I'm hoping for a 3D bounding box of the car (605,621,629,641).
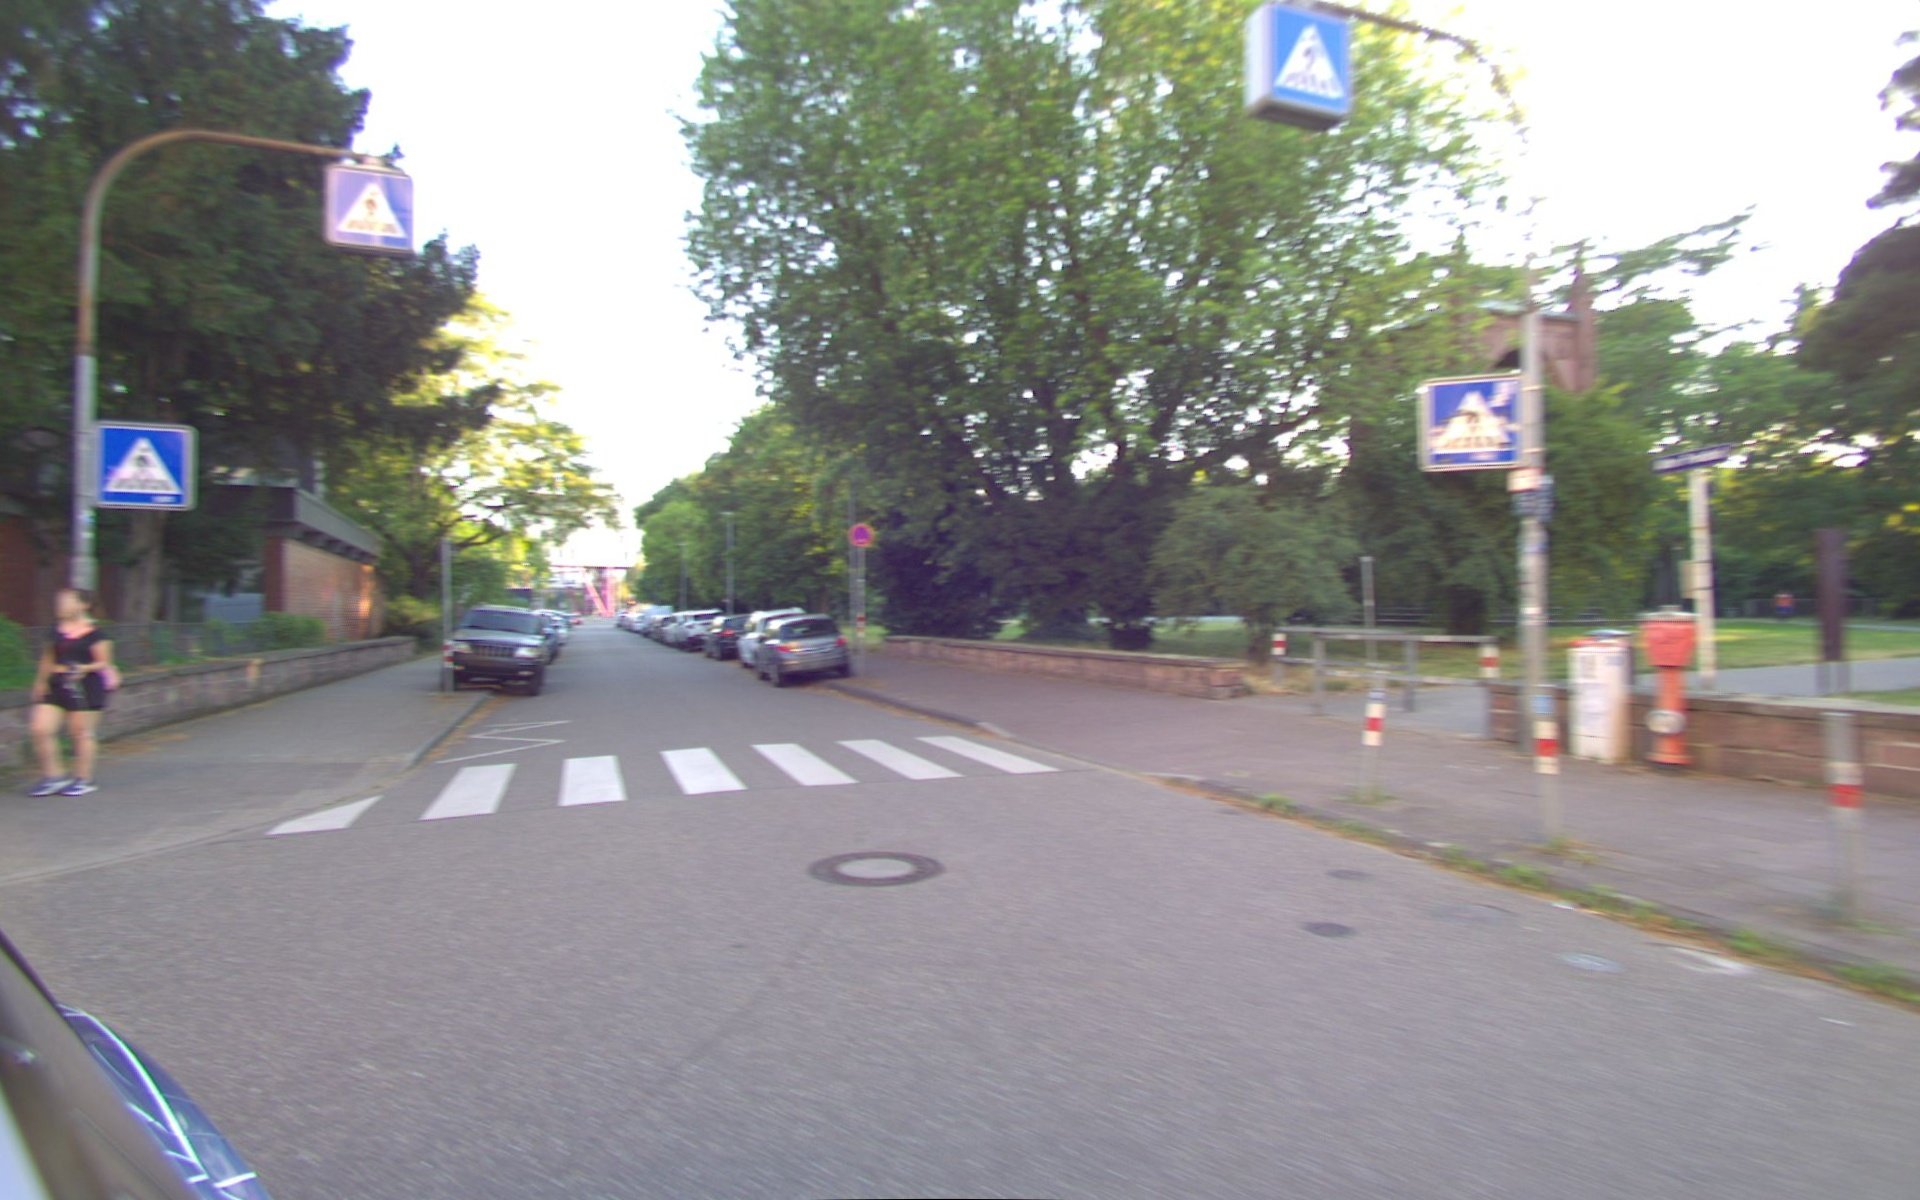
[{"bbox_3d":[-34.050,3.032,100.378,1.757,1.796,4.025,-5,1,-23],"label":"car"}]

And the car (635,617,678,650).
[{"bbox_3d":[-17.203,1.879,57.237,1.757,1.583,3.897,-6,1,-23],"label":"car"}]

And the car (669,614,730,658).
[{"bbox_3d":[-10.831,1.467,41.858,1.757,1.583,3.897,-6,1,-23],"label":"car"}]

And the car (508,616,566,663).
[{"bbox_3d":[-15.381,1.426,36.761,1.756,1.511,3.897,4,-3,-23],"label":"car"}]

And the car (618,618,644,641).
[{"bbox_3d":[-29.655,2.647,91.218,1.757,1.808,3.897,-5,1,-23],"label":"car"}]

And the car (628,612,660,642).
[{"bbox_3d":[-24.025,2.071,76.769,1.757,2.051,3.897,-5,1,-23],"label":"car"}]

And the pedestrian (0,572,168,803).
[{"bbox_3d":[-7.244,0.684,8.224,0.848,1.739,0.826,4,-2,-9],"label":"pedestrian"}]

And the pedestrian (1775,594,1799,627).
[{"bbox_3d":[41.864,0.520,51.238,0.658,1.681,0.667,-1,0,-2],"label":"pedestrian"}]

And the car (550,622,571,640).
[{"bbox_3d":[-41.445,3.190,104.908,1.965,1.763,4.013,-1,-1,-23],"label":"car"}]

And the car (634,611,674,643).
[{"bbox_3d":[-20.183,1.747,66.656,1.932,1.850,3.897,-5,1,-23],"label":"car"}]

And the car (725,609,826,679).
[{"bbox_3d":[-5.083,1.161,27.537,1.757,1.589,3.897,-6,1,-23],"label":"car"}]

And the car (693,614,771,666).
[{"bbox_3d":[-7.716,1.310,34.046,1.757,1.487,3.897,-6,1,-23],"label":"car"}]

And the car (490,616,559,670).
[{"bbox_3d":[-13.588,1.327,31.602,1.756,1.511,3.897,4,-3,-23],"label":"car"}]

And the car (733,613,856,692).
[{"bbox_3d":[-3.854,1.133,22.983,1.757,1.461,3.897,-6,1,-23],"label":"car"}]

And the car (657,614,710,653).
[{"bbox_3d":[-13.011,1.570,47.542,1.757,1.583,3.897,-6,1,-23],"label":"car"}]

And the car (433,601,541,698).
[{"bbox_3d":[-9.562,0.983,20.654,1.756,1.767,3.897,3,-2,-23],"label":"car"}]

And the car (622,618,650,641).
[{"bbox_3d":[-27.779,2.540,86.776,1.757,1.742,3.897,-5,1,-23],"label":"car"}]

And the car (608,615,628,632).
[{"bbox_3d":[-39.516,2.693,116.774,1.757,1.796,4.025,-5,1,-23],"label":"car"}]

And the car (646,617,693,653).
[{"bbox_3d":[-14.979,1.776,52.067,1.757,1.583,3.897,-6,1,-23],"label":"car"}]
